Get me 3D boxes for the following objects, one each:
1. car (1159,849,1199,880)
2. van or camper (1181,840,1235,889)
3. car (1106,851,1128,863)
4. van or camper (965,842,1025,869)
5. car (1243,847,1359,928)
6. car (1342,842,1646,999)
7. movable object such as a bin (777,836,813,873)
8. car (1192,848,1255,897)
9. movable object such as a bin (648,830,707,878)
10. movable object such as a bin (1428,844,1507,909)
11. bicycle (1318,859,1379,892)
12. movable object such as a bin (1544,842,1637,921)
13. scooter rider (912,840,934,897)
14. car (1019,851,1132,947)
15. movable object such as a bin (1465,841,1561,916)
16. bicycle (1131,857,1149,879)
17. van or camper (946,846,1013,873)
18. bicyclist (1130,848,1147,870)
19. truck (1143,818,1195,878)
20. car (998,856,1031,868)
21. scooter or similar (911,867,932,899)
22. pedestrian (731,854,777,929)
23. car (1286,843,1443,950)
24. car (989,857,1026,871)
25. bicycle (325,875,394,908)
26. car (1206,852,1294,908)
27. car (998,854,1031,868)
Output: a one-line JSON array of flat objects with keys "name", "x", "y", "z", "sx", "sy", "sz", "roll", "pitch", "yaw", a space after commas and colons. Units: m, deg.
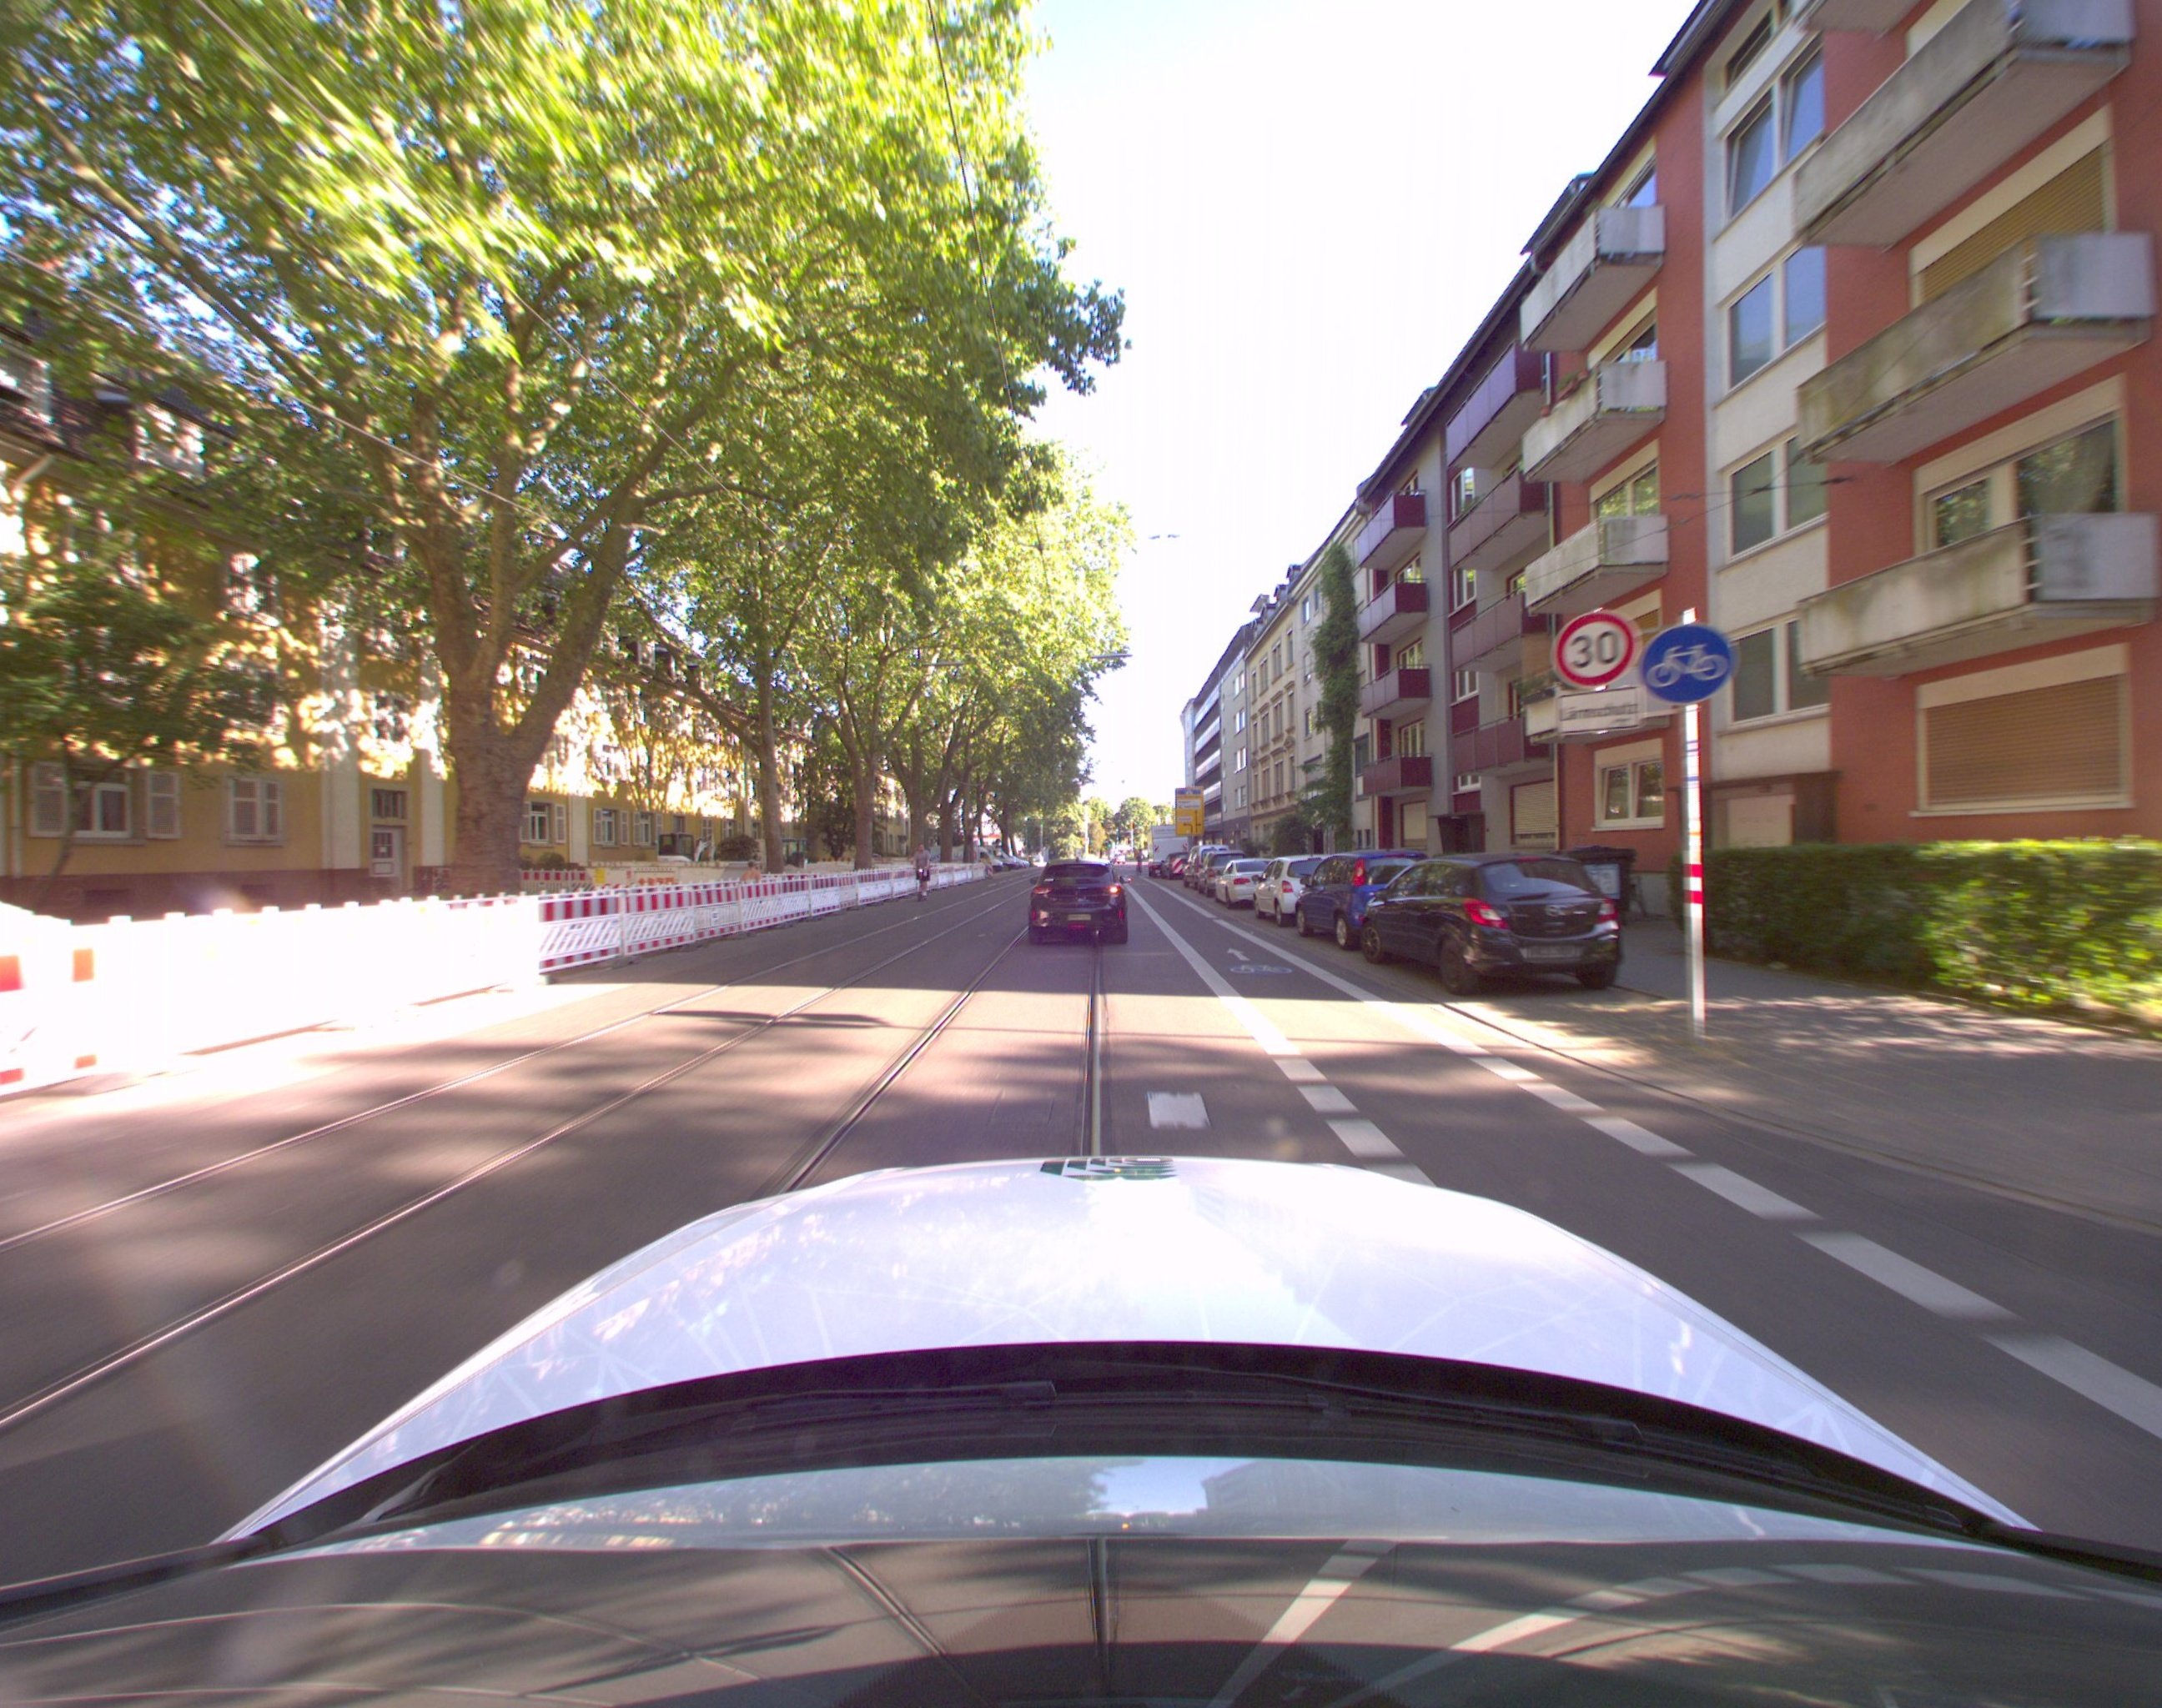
[{"name": "car", "x": 5.414, "y": 0.560, "z": 45.431, "sx": 1.724, "sy": 1.557, "sz": 4.153, "roll": -3, "pitch": 0, "yaw": 2}, {"name": "van or camper", "x": 5.216, "y": 0.396, "z": 33.950, "sx": 1.662, "sy": 1.883, "sz": 4.212, "roll": -2, "pitch": 0, "yaw": 2}, {"name": "car", "x": 5.204, "y": 0.465, "z": 119.256, "sx": 1.995, "sy": 1.695, "sz": 4.719, "roll": -3, "pitch": 0, "yaw": -12}, {"name": "van or camper", "x": -8.585, "y": 0.184, "z": 81.770, "sx": 5.703, "sy": 2.644, "sz": 2.270, "roll": 0, "pitch": 0, "yaw": 1}, {"name": "car", "x": 4.781, "y": 0.677, "z": 18.208, "sx": 1.585, "sy": 1.526, "sz": 3.836, "roll": -3, "pitch": 0, "yaw": 2}, {"name": "car", "x": 4.679, "y": 0.644, "z": 9.955, "sx": 1.727, "sy": 1.462, "sz": 3.917, "roll": -3, "pitch": 0, "yaw": 1}, {"name": "movable object such as a bin", "x": -13.104, "y": 0.029, "z": 37.366, "sx": 1.094, "sy": 1.645, "sz": 1.560, "roll": 0, "pitch": 0, "yaw": 1}, {"name": "car", "x": 5.018, "y": 0.619, "z": 29.091, "sx": 1.653, "sy": 1.580, "sz": 3.590, "roll": -2, "pitch": 0, "yaw": 2}, {"name": "movable object such as a bin", "x": -16.032, "y": 0.000, "z": 32.434, "sx": 1.328, "sy": 1.868, "sz": 2.008, "roll": 0, "pitch": 0, "yaw": 1}, {"name": "movable object such as a bin", "x": 8.154, "y": 0.458, "z": 17.284, "sx": 0.920, "sy": 1.327, "sz": 1.682, "roll": 0, "pitch": 0, "yaw": 2}, {"name": "bicycle", "x": 9.100, "y": 0.731, "z": 27.756, "sx": 1.884, "sy": 1.029, "sz": 0.477, "roll": -3, "pitch": 0, "yaw": 6}, {"name": "movable object such as a bin", "x": 8.814, "y": 0.468, "z": 14.129, "sx": 1.148, "sy": 1.327, "sz": 0.775, "roll": 0, "pitch": -1, "yaw": 1}, {"name": "scooter rider", "x": -5.504, "y": 0.512, "z": 28.407, "sx": 0.647, "sy": 1.957, "sz": 0.624, "roll": 0, "pitch": -1, "yaw": 1}, {"name": "car", "x": -0.047, "y": 0.704, "z": 14.835, "sx": 1.775, "sy": 1.496, "sz": 4.001, "roll": 0, "pitch": 0, "yaw": 1}, {"name": "movable object such as a bin", "x": 8.126, "y": 0.438, "z": 15.419, "sx": 0.963, "sy": 1.327, "sz": 1.722, "roll": 0, "pitch": 0, "yaw": 2}, {"name": "bicycle", "x": 4.362, "y": 0.990, "z": 59.855, "sx": 0.910, "sy": 1.561, "sz": 3.416, "roll": 0, "pitch": 0, "yaw": 12}, {"name": "van or camper", "x": -9.006, "y": 0.465, "z": 72.451, "sx": 5.476, "sy": 2.379, "sz": 2.272, "roll": 0, "pitch": 0, "yaw": 4}, {"name": "bicyclist", "x": 4.227, "y": 0.363, "z": 59.672, "sx": 1.082, "sy": 1.647, "sz": 1.405, "roll": 0, "pitch": 0, "yaw": 12}, {"name": "truck", "x": 5.458, "y": -0.358, "z": 51.337, "sx": 2.529, "sy": 3.338, "sz": 7.198, "roll": -3, "pitch": 0, "yaw": 2}, {"name": "car", "x": -8.284, "y": 1.003, "z": 101.363, "sx": 3.971, "sy": 1.515, "sz": 1.650, "roll": 0, "pitch": 0, "yaw": 2}, {"name": "scooter or similar", "x": -5.540, "y": 0.993, "z": 28.354, "sx": 0.406, "sy": 1.083, "sz": 1.339, "roll": 0, "pitch": 0, "yaw": 2}, {"name": "pedestrian", "x": -7.404, "y": 0.828, "z": 18.468, "sx": 0.714, "sy": 1.669, "sz": 0.779, "roll": 0, "pitch": -1, "yaw": 1}, {"name": "car", "x": 4.713, "y": 0.645, "z": 14.072, "sx": 1.520, "sy": 1.590, "sz": 3.753, "roll": 0, "pitch": 0, "yaw": 2}, {"name": "car", "x": -8.220, "y": 1.151, "z": 91.276, "sx": 3.971, "sy": 1.515, "sz": 1.650, "roll": 0, "pitch": 0, "yaw": 2}, {"name": "bicycle", "x": -19.997, "y": 1.021, "z": 22.616, "sx": 0.505, "sy": 0.818, "sz": 1.642, "roll": -1, "pitch": 0, "yaw": -2}, {"name": "car", "x": 4.867, "y": 0.692, "z": 24.059, "sx": 1.653, "sy": 1.399, "sz": 4.740, "roll": -3, "pitch": 0, "yaw": 1}, {"name": "car", "x": -8.514, "y": 0.922, "z": 104.652, "sx": 4.157, "sy": 1.671, "sz": 1.963, "roll": -1, "pitch": 0, "yaw": -2}]
